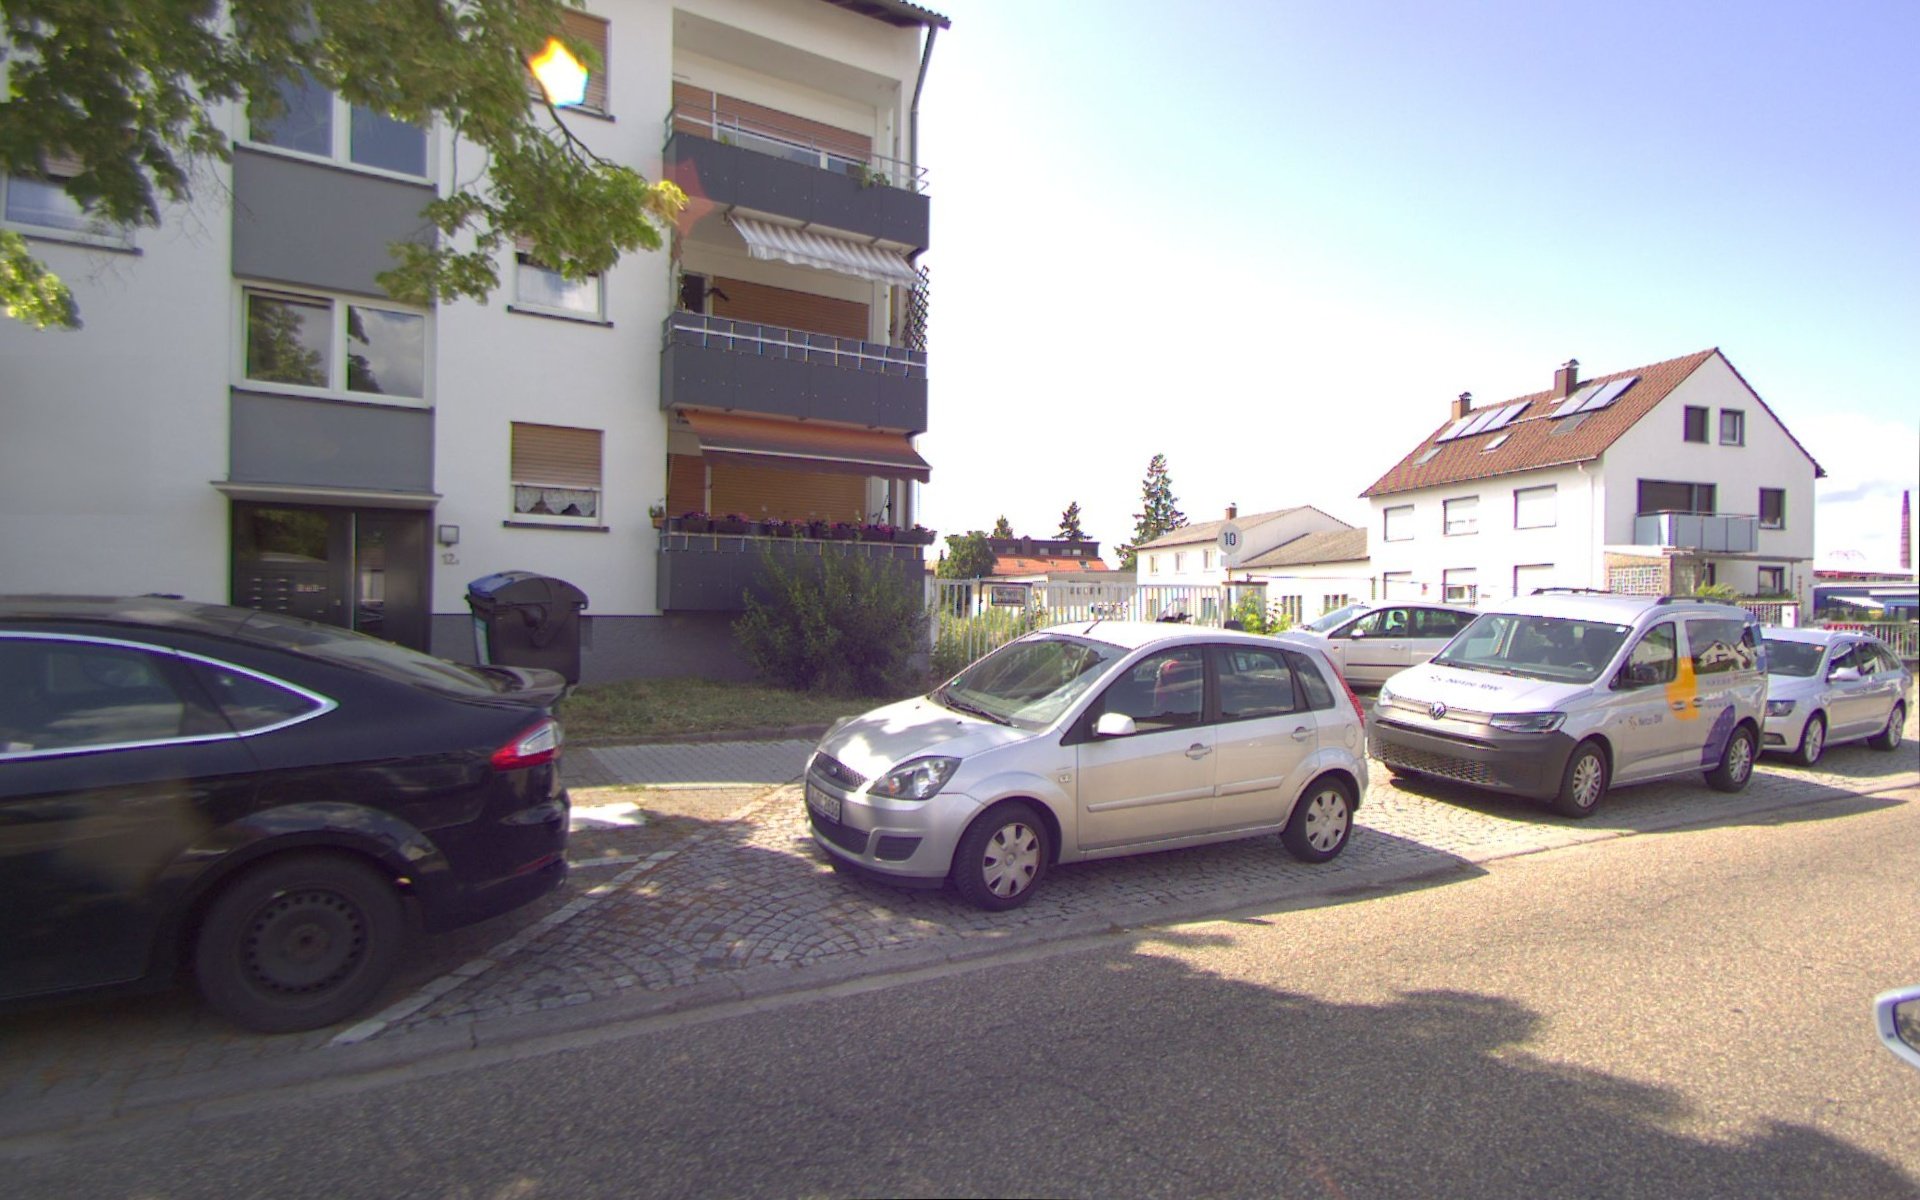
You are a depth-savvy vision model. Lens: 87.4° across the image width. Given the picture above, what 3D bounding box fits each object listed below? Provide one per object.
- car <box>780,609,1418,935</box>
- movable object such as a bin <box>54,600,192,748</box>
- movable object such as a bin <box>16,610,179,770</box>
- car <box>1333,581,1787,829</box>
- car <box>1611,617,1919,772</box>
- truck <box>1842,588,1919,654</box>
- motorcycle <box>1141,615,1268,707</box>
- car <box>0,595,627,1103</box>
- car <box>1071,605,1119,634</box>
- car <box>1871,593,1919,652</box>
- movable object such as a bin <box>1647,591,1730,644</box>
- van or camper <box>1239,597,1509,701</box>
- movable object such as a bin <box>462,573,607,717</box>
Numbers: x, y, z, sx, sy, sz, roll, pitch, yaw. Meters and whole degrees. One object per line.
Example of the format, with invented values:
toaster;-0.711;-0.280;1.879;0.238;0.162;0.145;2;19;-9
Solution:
car;0.974;0.884;6.497;3.879;1.489;1.615;2;2;-30
movable object such as a bin;-7.416;0.620;8.944;0.797;1.230;0.746;-1;1;-30
movable object such as a bin;-6.971;0.684;8.174;0.815;1.165;0.949;-1;1;-30
car;5.810;0.826;9.587;4.440;1.830;1.800;1;3;-32
car;10.360;1.048;12.754;4.658;1.481;1.738;0;3;-33
truck;43.747;0.906;42.594;2.684;2.894;9.229;1;-1;-25
motorcycle;3.802;0.914;15.830;0.670;1.266;2.083;1;1;-30
car;-3.751;0.772;3.685;4.542;1.514;1.801;1;2;-30
car;9.804;1.445;73.014;1.968;2.040;3.986;1;-1;-17
car;37.865;0.897;37.788;1.968;2.261;4.998;2;-1;-17
movable object such as a bin;22.496;0.519;31.039;1.576;1.451;1.310;-6;1;-14
van or camper;7.008;0.796;17.360;3.919;1.563;1.782;2;1;5
movable object such as a bin;-4.771;0.445;11.232;1.250;1.402;1.264;-5;5;-31
